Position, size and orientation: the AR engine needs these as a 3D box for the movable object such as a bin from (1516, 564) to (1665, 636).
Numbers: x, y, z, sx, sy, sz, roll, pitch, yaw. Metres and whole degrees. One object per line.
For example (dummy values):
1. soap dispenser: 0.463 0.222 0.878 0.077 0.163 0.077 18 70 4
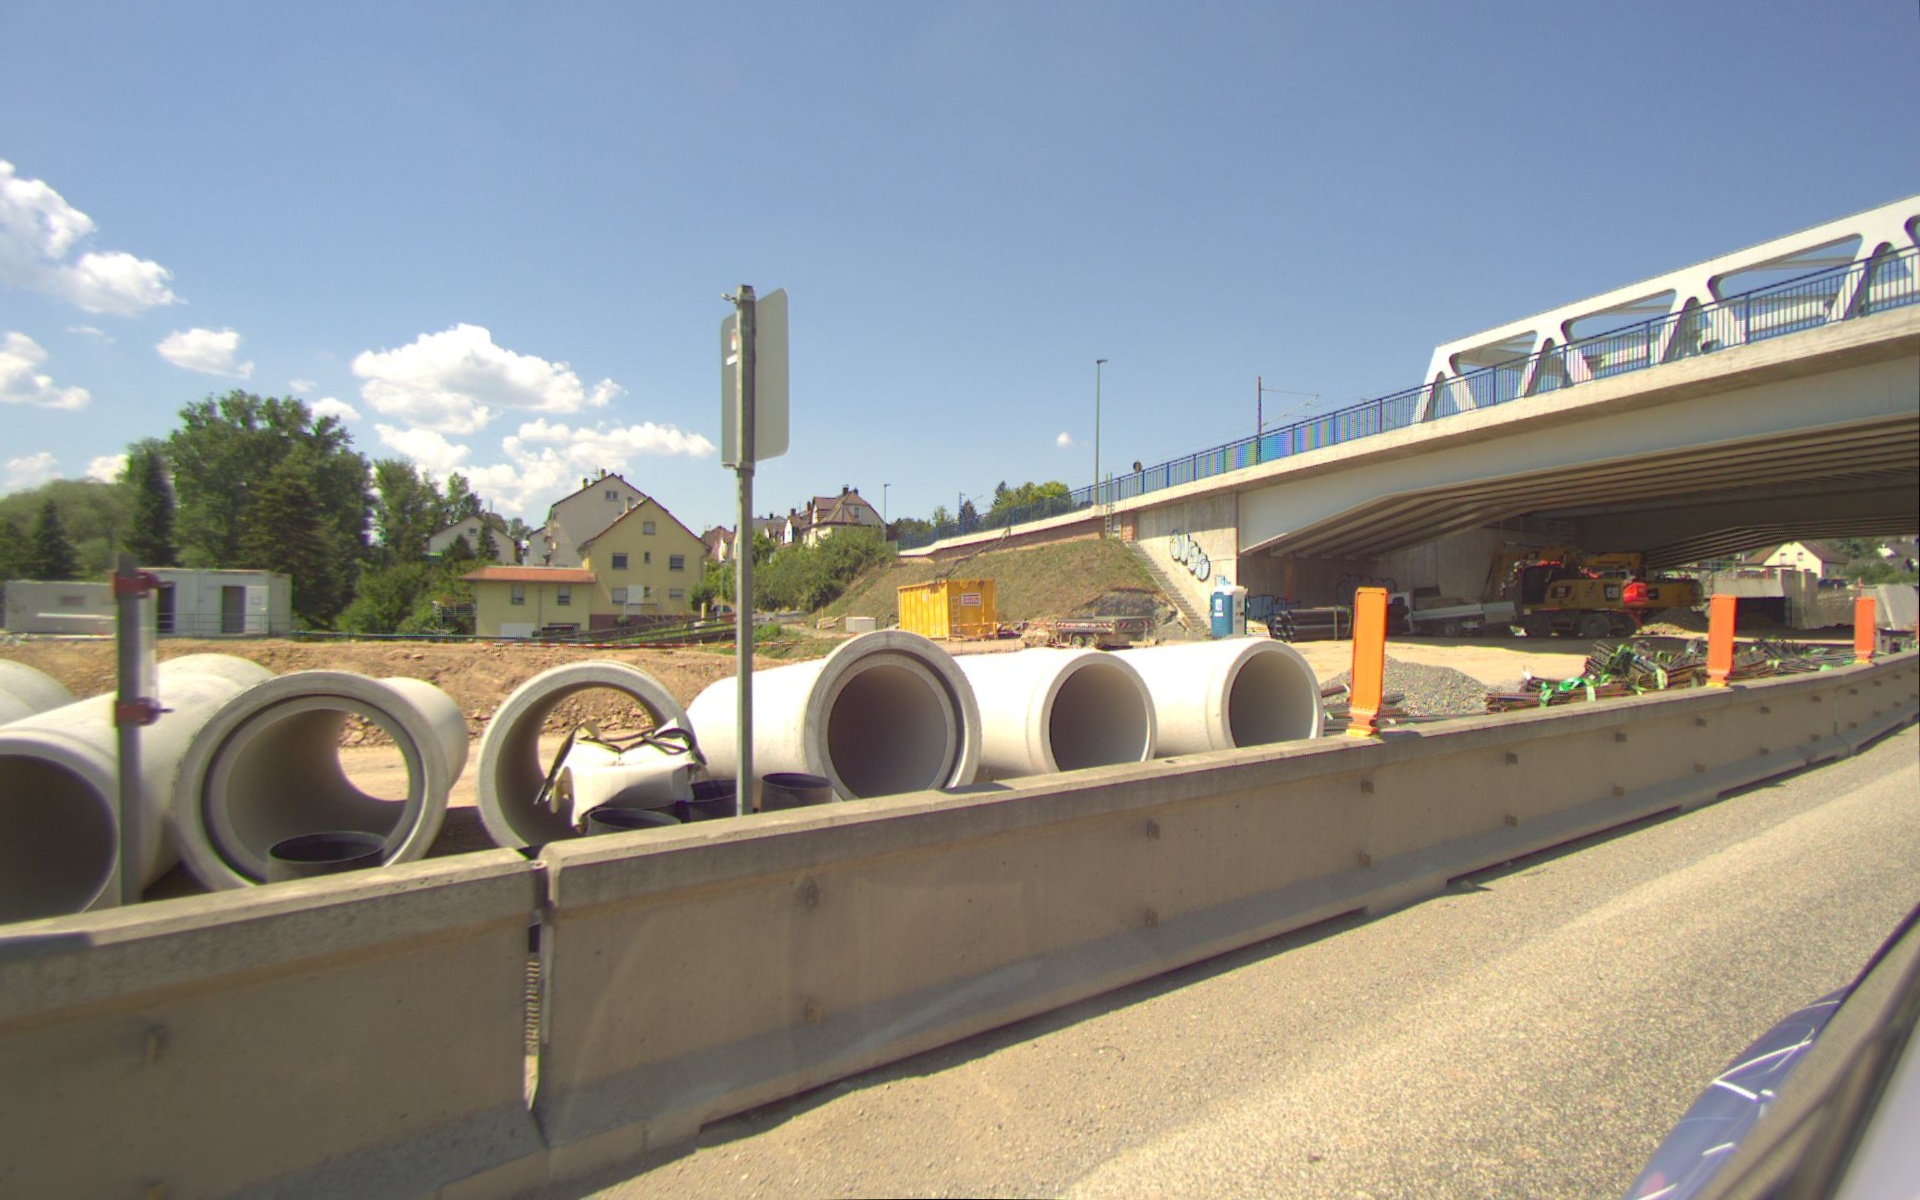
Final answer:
1. movable object such as a bin: 29.058 0.008 46.844 2.446 3.095 5.263 -2 0 -28

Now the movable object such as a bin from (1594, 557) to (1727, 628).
1. movable object such as a bin: 35.016 -0.374 50.743 2.930 3.328 4.574 -2 0 -28

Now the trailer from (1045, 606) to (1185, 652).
1. trailer: 5.048 0.900 33.613 2.016 1.234 4.732 -2 2 -31

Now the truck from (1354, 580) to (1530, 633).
1. truck: 20.561 0.257 43.561 2.611 2.099 6.550 -1 0 -28

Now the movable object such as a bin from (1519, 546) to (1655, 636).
1. movable object such as a bin: 26.621 -0.377 43.115 2.842 3.587 3.901 -2 0 -21
